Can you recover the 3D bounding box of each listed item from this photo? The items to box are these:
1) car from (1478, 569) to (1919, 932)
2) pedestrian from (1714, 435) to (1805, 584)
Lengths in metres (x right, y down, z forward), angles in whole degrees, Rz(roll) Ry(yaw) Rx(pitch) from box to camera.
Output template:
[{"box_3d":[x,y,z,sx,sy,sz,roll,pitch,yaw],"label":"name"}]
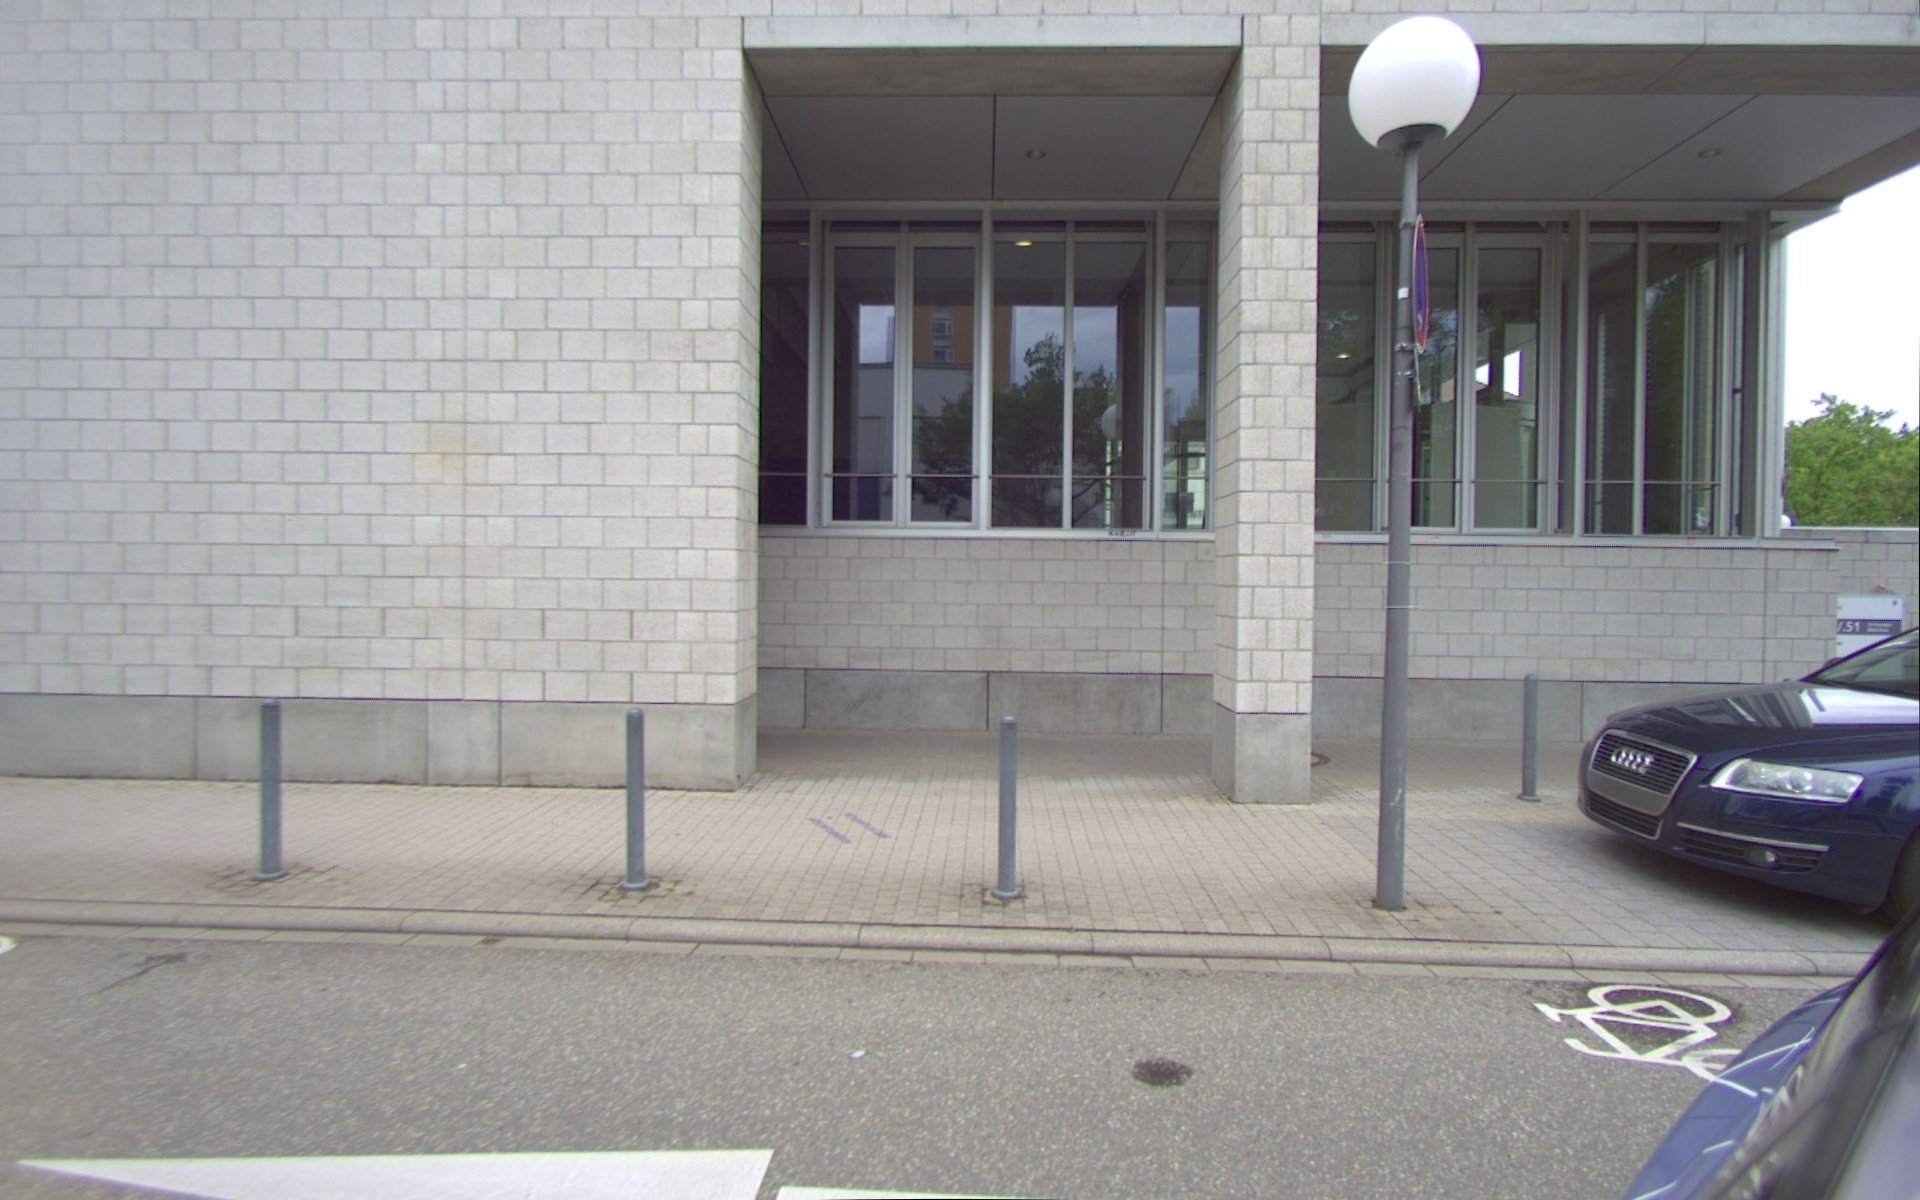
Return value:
[{"box_3d":[5.535,0.598,5.037,4.831,1.470,1.999,0,1,2],"label":"car"},{"box_3d":[9.460,-1.050,12.002,0.625,1.679,0.799,3,0,27],"label":"pedestrian"}]
